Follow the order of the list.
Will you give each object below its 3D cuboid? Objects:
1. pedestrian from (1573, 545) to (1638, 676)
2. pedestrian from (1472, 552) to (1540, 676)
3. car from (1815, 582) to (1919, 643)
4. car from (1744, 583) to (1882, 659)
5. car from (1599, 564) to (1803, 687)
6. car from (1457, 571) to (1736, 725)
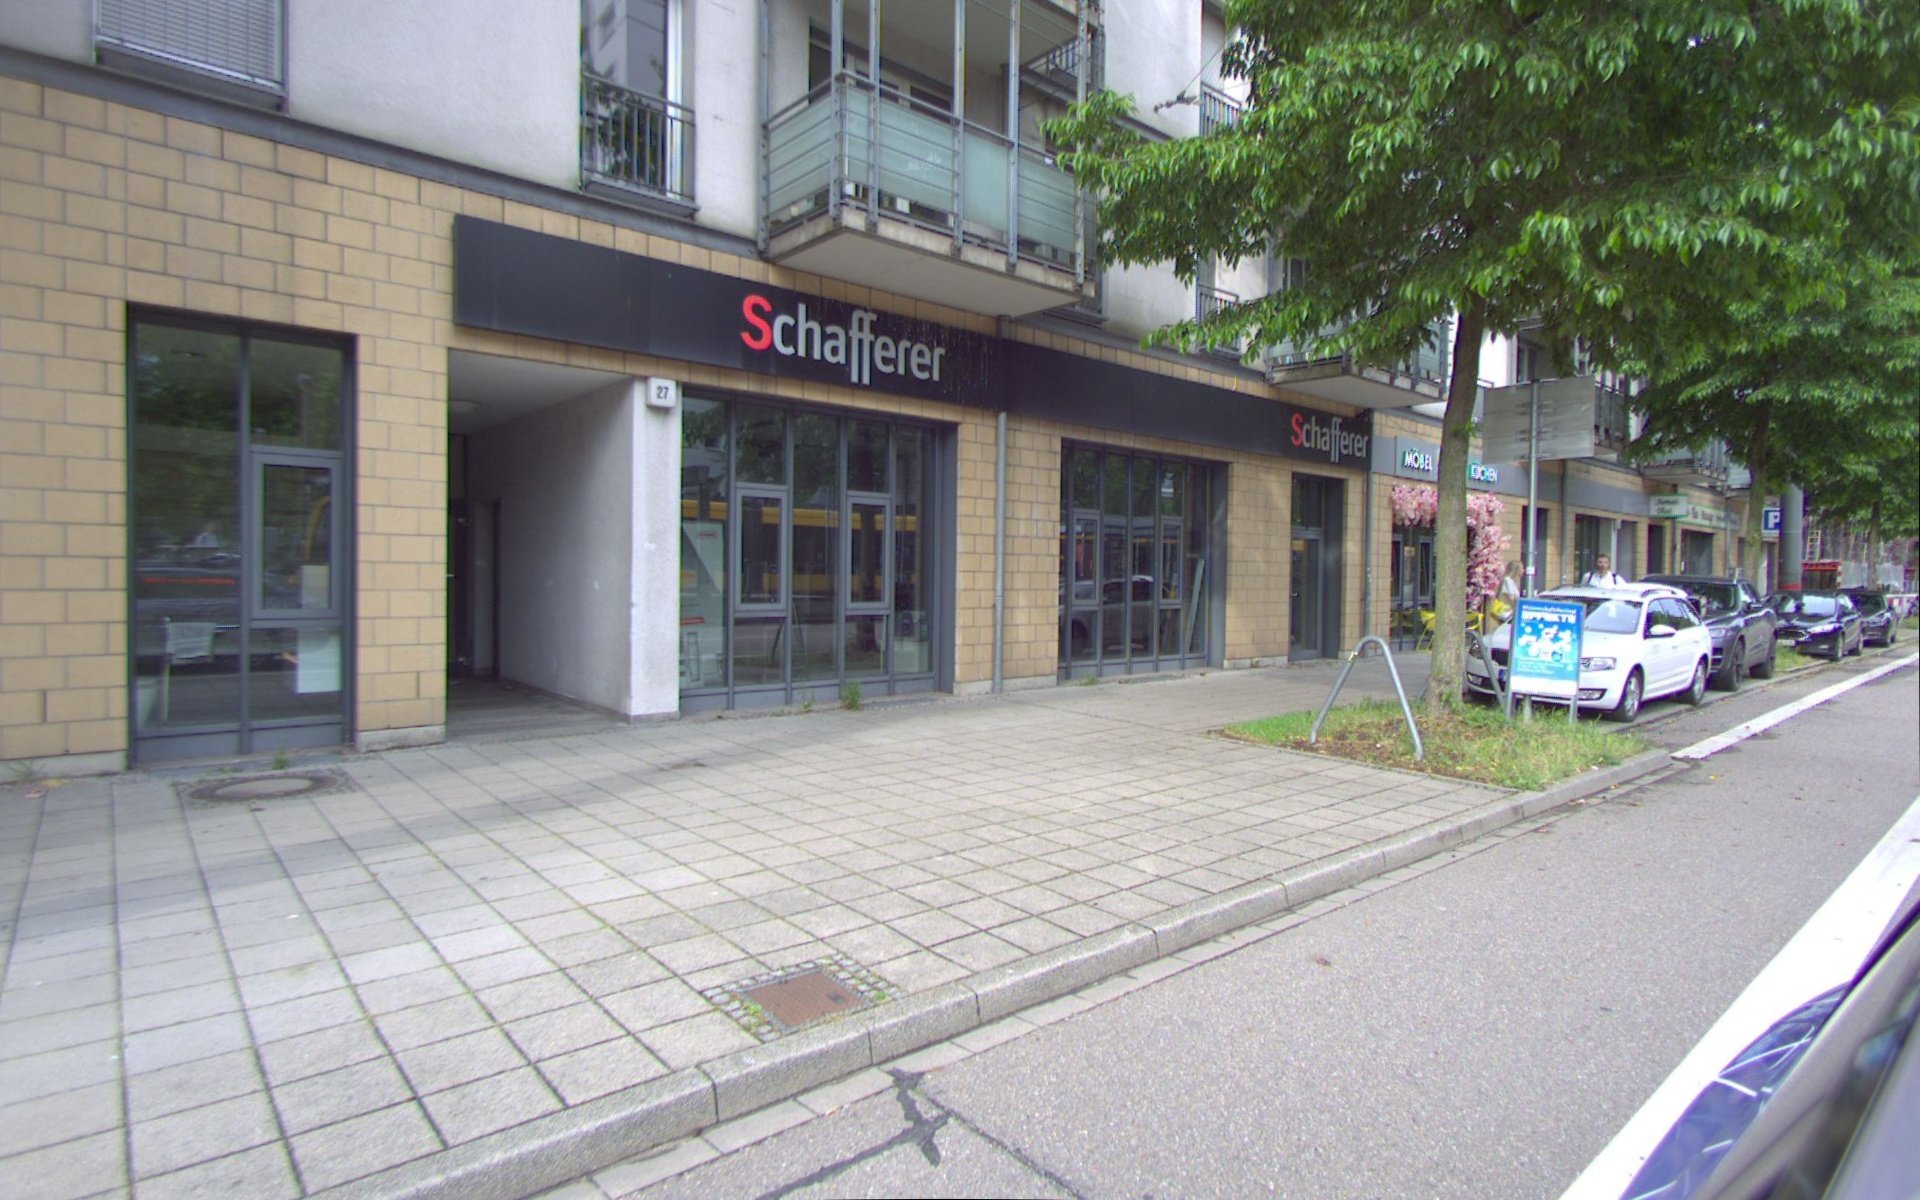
[{"bbox_3d":[9.620,0.143,15.090,0.588,1.907,0.656,0,1,-41],"label":"pedestrian"},{"bbox_3d":[7.930,0.184,14.726,0.729,1.738,0.613,2,2,21],"label":"pedestrian"},{"bbox_3d":[24.152,0.289,26.873,3.603,1.417,1.612,-1,5,-41],"label":"car"},{"bbox_3d":[18.631,0.387,22.047,4.095,1.394,1.612,-1,5,-41],"label":"car"},{"bbox_3d":[11.790,0.319,16.030,3.732,1.630,1.738,-1,5,-41],"label":"car"},{"bbox_3d":[8.118,0.474,12.757,4.233,1.539,1.738,-1,5,-41],"label":"car"}]
